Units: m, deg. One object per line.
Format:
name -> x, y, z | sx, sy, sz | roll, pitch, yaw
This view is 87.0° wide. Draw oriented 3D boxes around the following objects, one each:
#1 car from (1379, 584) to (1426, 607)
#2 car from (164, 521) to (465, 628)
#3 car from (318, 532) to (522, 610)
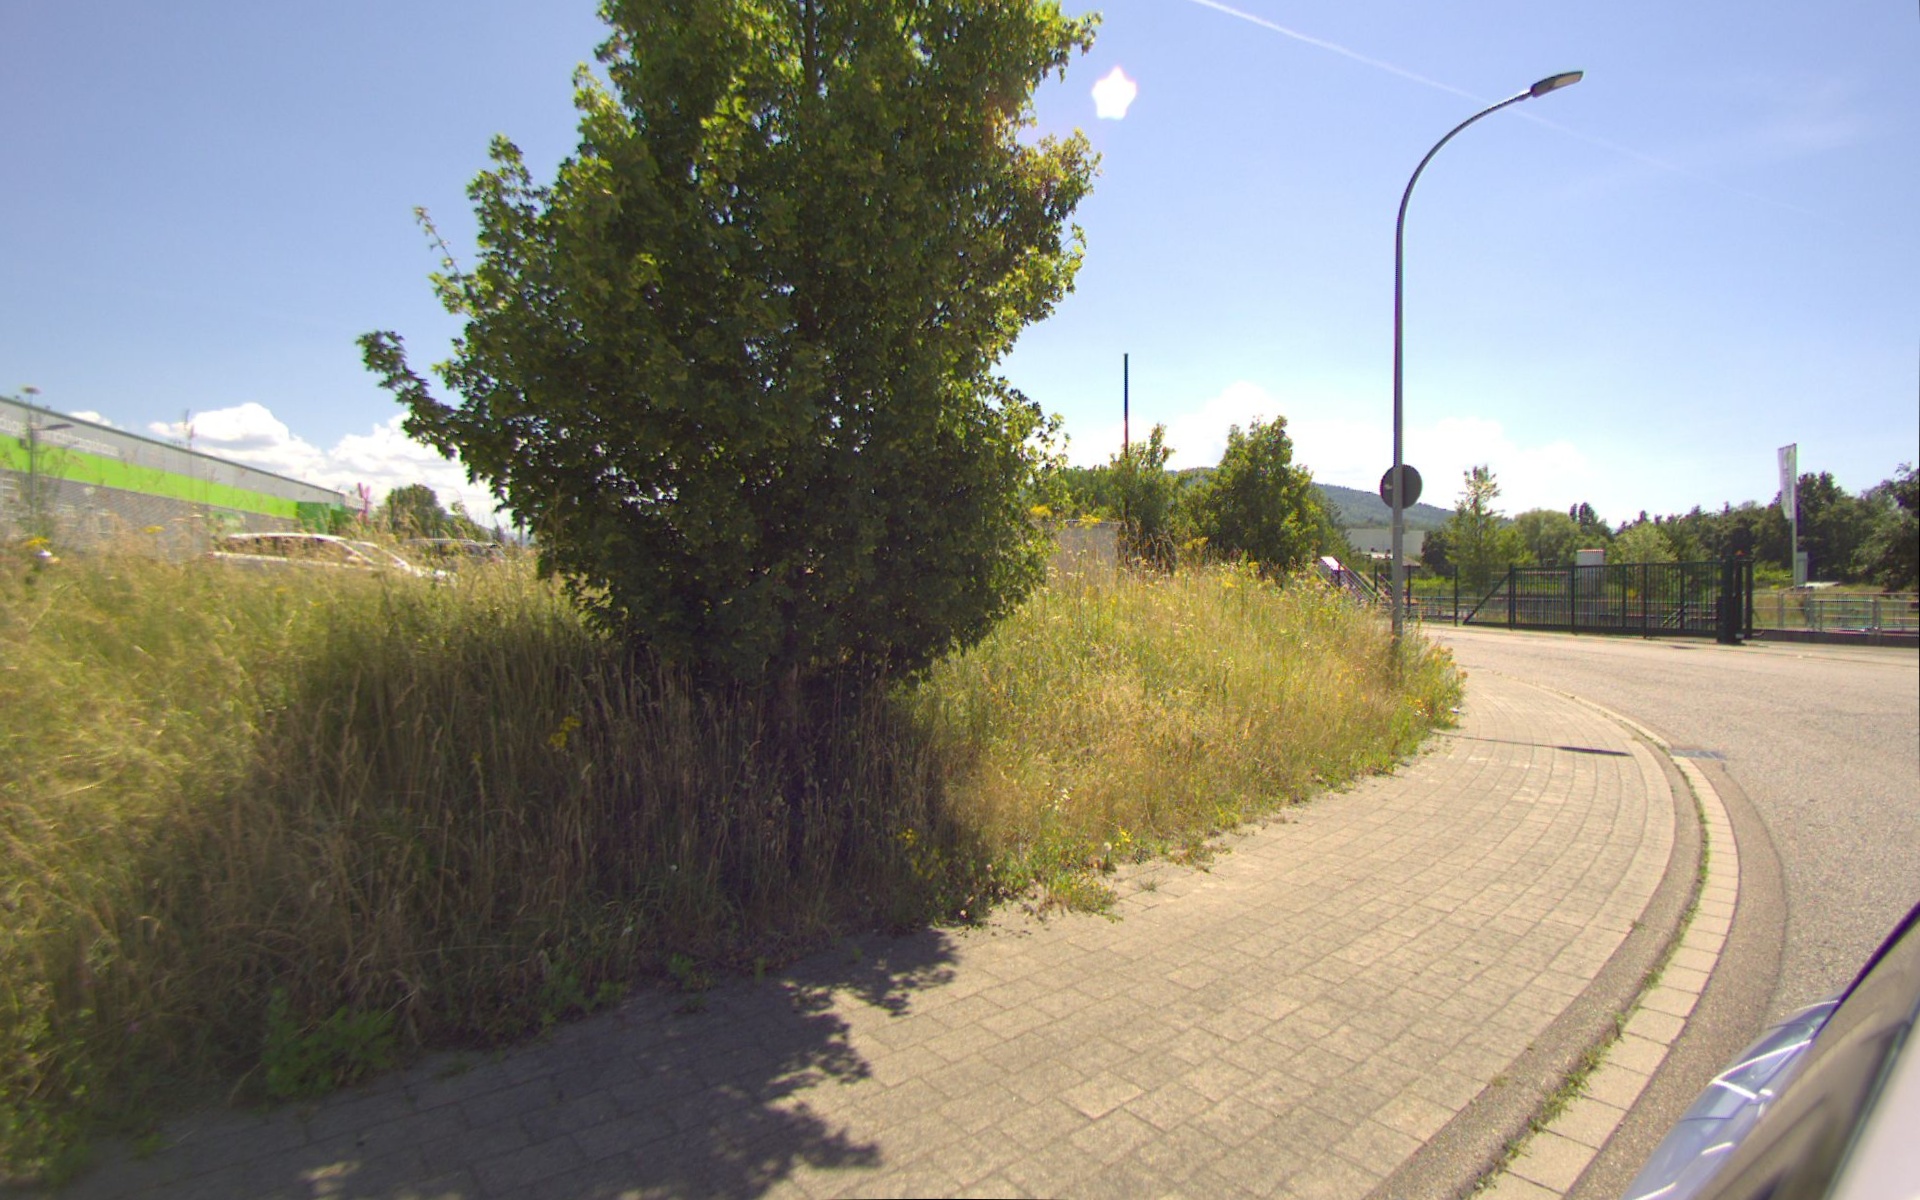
car -> 33.685, -0.360, 77.176 | 1.766, 1.638, 4.001 | 1, 1, -1
car -> -11.671, -0.477, 18.676 | 4.308, 1.808, 1.958 | -1, 1, -19
car -> -13.754, -0.746, 26.076 | 4.308, 1.890, 2.005 | -1, 1, -17
